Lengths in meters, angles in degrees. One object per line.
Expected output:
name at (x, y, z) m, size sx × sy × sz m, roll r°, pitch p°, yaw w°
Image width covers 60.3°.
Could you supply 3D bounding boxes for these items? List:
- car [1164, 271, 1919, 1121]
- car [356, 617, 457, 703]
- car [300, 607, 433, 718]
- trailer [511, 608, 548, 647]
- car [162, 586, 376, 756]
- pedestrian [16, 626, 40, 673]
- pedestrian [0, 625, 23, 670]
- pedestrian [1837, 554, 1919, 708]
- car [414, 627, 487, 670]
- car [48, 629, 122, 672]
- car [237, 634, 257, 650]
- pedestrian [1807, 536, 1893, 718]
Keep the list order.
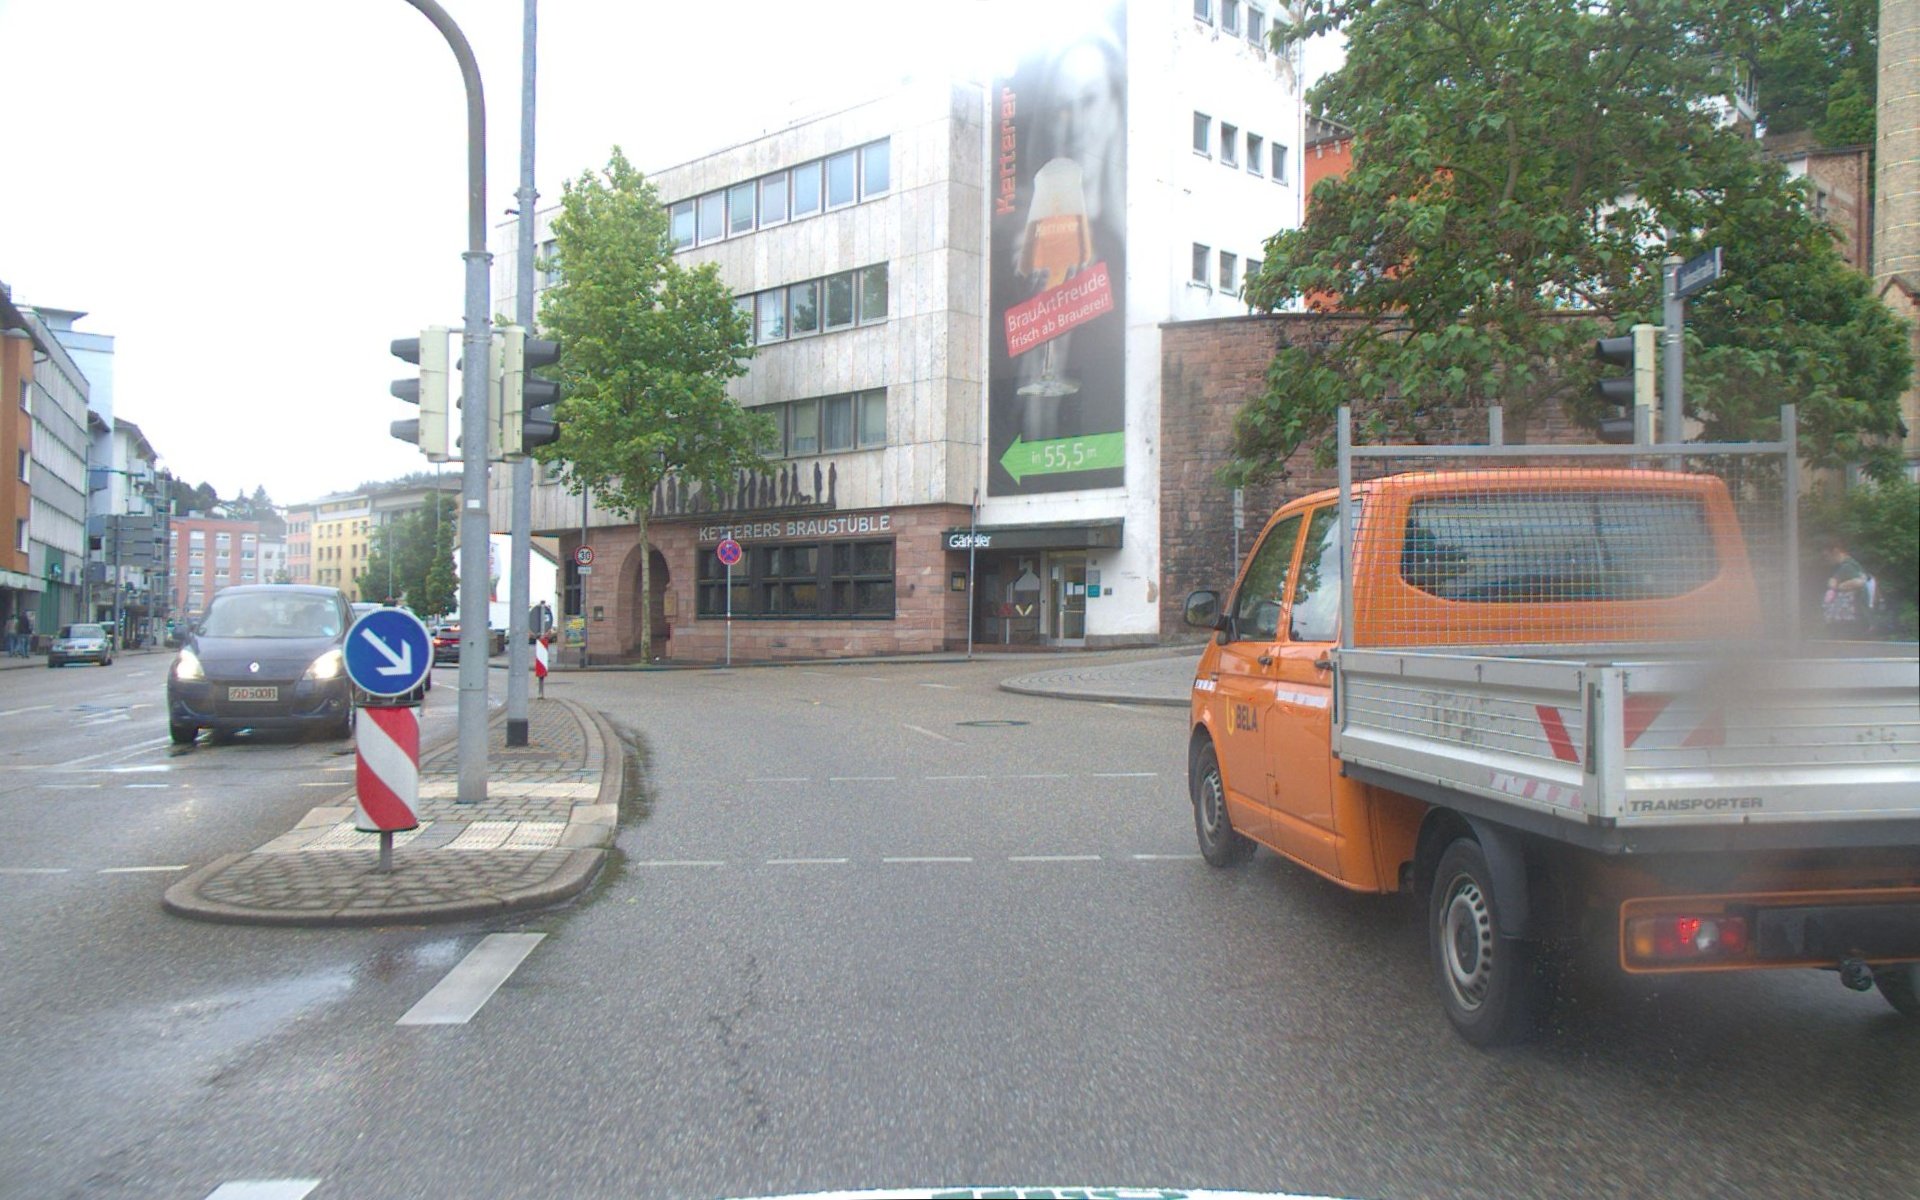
car at (2.438, 0.319, 6.987) m, size 2.060 × 2.126 × 5.536 m, roll 1°, pitch -1°, yaw -4°
car at (-10.203, 1.060, 30.347) m, size 1.620 × 1.479 × 3.965 m, roll 1°, pitch -1°, yaw -21°
car at (-8.538, 0.843, 24.036) m, size 1.530 × 1.422 × 3.711 m, roll -2°, pitch 0°, yaw -16°
trailer at (-32.038, 2.010, 123.052) m, size 2.096 × 2.764 × 5.358 m, roll -2°, pitch 0°, yaw -20°
car at (-7.523, 0.700, 18.365) m, size 1.727 × 1.643 × 4.192 m, roll -1°, pitch 0°, yaw -17°
pedestrian at (-36.511, 1.938, 64.810) m, size 0.567 × 1.820 × 0.821 m, roll 5°, pitch -4°, yaw -22°
pedestrian at (-37.112, 1.856, 64.643) m, size 0.622 × 1.705 × 0.901 m, roll 5°, pitch -4°, yaw -24°
pedestrian at (10.023, 0.332, 17.999) m, size 0.692 × 1.627 × 0.600 m, roll -3°, pitch 0°, yaw 36°
car at (-17.870, 1.663, 57.852) m, size 1.768 × 1.427 × 4.594 m, roll 0°, pitch -1°, yaw -26°
car at (-29.417, 1.722, 55.684) m, size 1.704 × 1.390 × 4.083 m, roll 0°, pitch -3°, yaw -21°
car at (-74.451, 4.381, 172.727) m, size 1.684 × 1.493 × 4.796 m, roll -2°, pitch -1°, yaw -22°
pedestrian at (9.414, 0.277, 17.482) m, size 0.679 × 1.862 × 0.741 m, roll -2°, pitch 1°, yaw 33°
